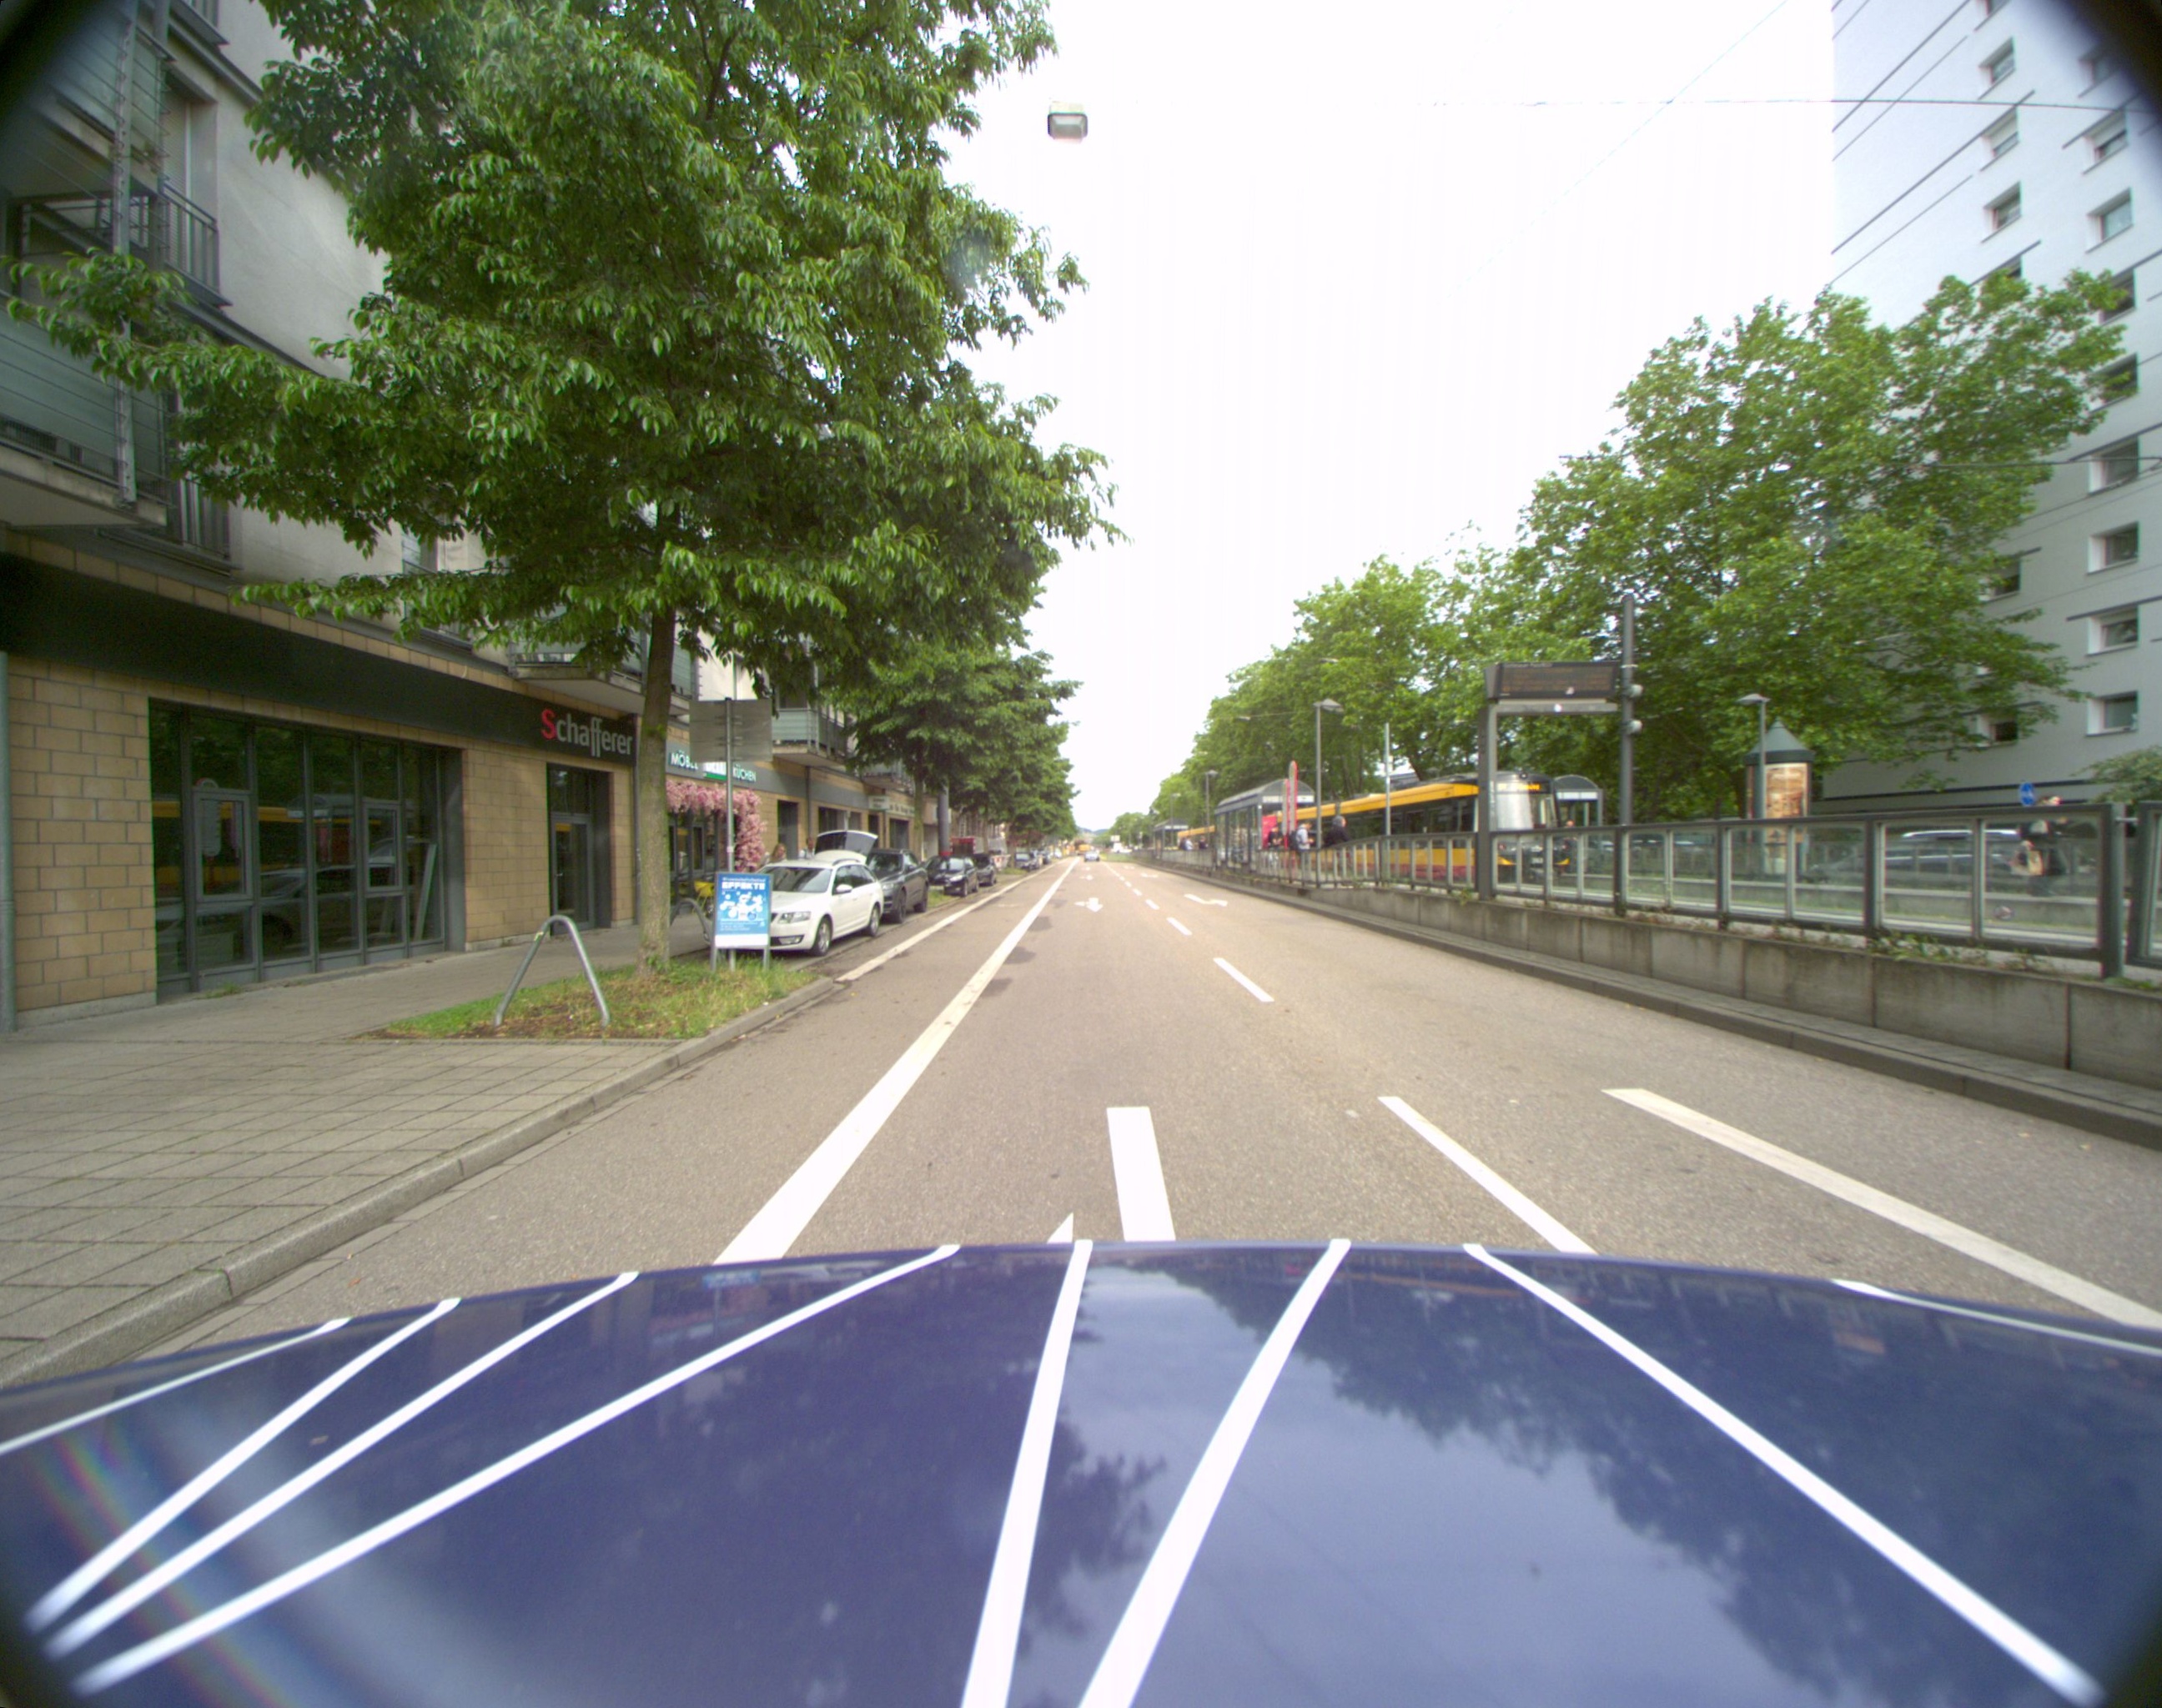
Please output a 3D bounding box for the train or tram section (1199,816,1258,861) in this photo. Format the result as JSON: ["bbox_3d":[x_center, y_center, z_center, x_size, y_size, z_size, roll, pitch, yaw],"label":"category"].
[{"bbox_3d":[13.470,-1.411,70.472,3.338,3.731,11.042,-2,1,1],"label":"train or tram section"}]

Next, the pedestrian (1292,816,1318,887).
[{"bbox_3d":[5.751,-0.063,19.554,0.475,1.794,0.605,-2,1,5],"label":"pedestrian"}]

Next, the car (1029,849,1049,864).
[{"bbox_3d":[-3.972,0.211,72.457,1.612,1.393,3.667,2,1,1],"label":"car"}]

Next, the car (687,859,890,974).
[{"bbox_3d":[-4.722,0.904,13.008,1.738,1.512,4.308,2,1,1],"label":"car"}]

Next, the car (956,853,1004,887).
[{"bbox_3d":[-4.559,0.687,34.743,1.612,1.393,3.667,2,1,1],"label":"car"}]

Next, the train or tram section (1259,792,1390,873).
[{"bbox_3d":[13.073,-1.080,42.421,3.338,3.731,12.547,-2,1,1],"label":"train or tram section"}]

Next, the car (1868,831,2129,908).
[{"bbox_3d":[19.150,0.278,16.076,1.582,1.420,3.218,-1,1,-3],"label":"car"}]

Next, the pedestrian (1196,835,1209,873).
[{"bbox_3d":[5.844,0.001,36.530,0.530,1.794,0.606,-2,1,14],"label":"pedestrian"}]

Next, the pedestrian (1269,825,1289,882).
[{"bbox_3d":[6.309,-0.026,24.206,0.474,1.794,0.606,-2,1,26],"label":"pedestrian"}]

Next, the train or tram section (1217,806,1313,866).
[{"bbox_3d":[13.270,-1.249,56.806,3.338,3.731,16.247,-2,1,1],"label":"train or tram section"}]

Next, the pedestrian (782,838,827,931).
[{"bbox_3d":[-5.684,0.610,15.664,0.656,1.873,0.599,-1,1,1],"label":"pedestrian"}]

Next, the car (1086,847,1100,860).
[{"bbox_3d":[1.454,-0.082,93.065,1.716,1.379,4.099,-2,1,1],"label":"car"}]

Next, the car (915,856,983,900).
[{"bbox_3d":[-4.640,0.797,27.282,1.612,1.370,4.167,2,1,1],"label":"car"}]

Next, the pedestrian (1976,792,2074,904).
[{"bbox_3d":[15.320,-0.102,12.347,0.738,1.740,0.666,-2,1,1],"label":"pedestrian"}]

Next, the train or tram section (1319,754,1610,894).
[{"bbox_3d":[12.941,-0.919,28.508,3.338,3.731,15.201,-2,1,1],"label":"train or tram section"}]

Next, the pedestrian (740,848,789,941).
[{"bbox_3d":[-5.992,0.750,14.409,0.617,1.707,0.738,0,1,-2],"label":"pedestrian"}]

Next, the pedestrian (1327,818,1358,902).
[{"bbox_3d":[5.702,0.122,16.586,0.521,1.794,0.605,-2,1,13],"label":"pedestrian"}]

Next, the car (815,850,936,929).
[{"bbox_3d":[-4.719,0.745,18.010,1.738,1.601,3.798,2,1,1],"label":"car"}]

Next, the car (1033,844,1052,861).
[{"bbox_3d":[-3.966,-0.139,78.228,1.612,1.674,3.806,2,1,1],"label":"car"}]

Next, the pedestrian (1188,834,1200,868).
[{"bbox_3d":[6.137,-0.177,41.347,0.530,1.794,0.606,-2,1,14],"label":"pedestrian"}]

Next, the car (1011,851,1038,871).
[{"bbox_3d":[-4.156,0.482,56.282,1.612,1.393,3.667,2,1,1],"label":"car"}]

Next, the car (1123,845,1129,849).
[{"bbox_3d":[14.886,-2.273,250.217,1.716,1.379,4.098,-1,1,-1],"label":"car"}]

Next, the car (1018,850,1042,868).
[{"bbox_3d":[-4.127,0.367,62.171,1.612,1.393,3.667,2,1,1],"label":"car"}]
